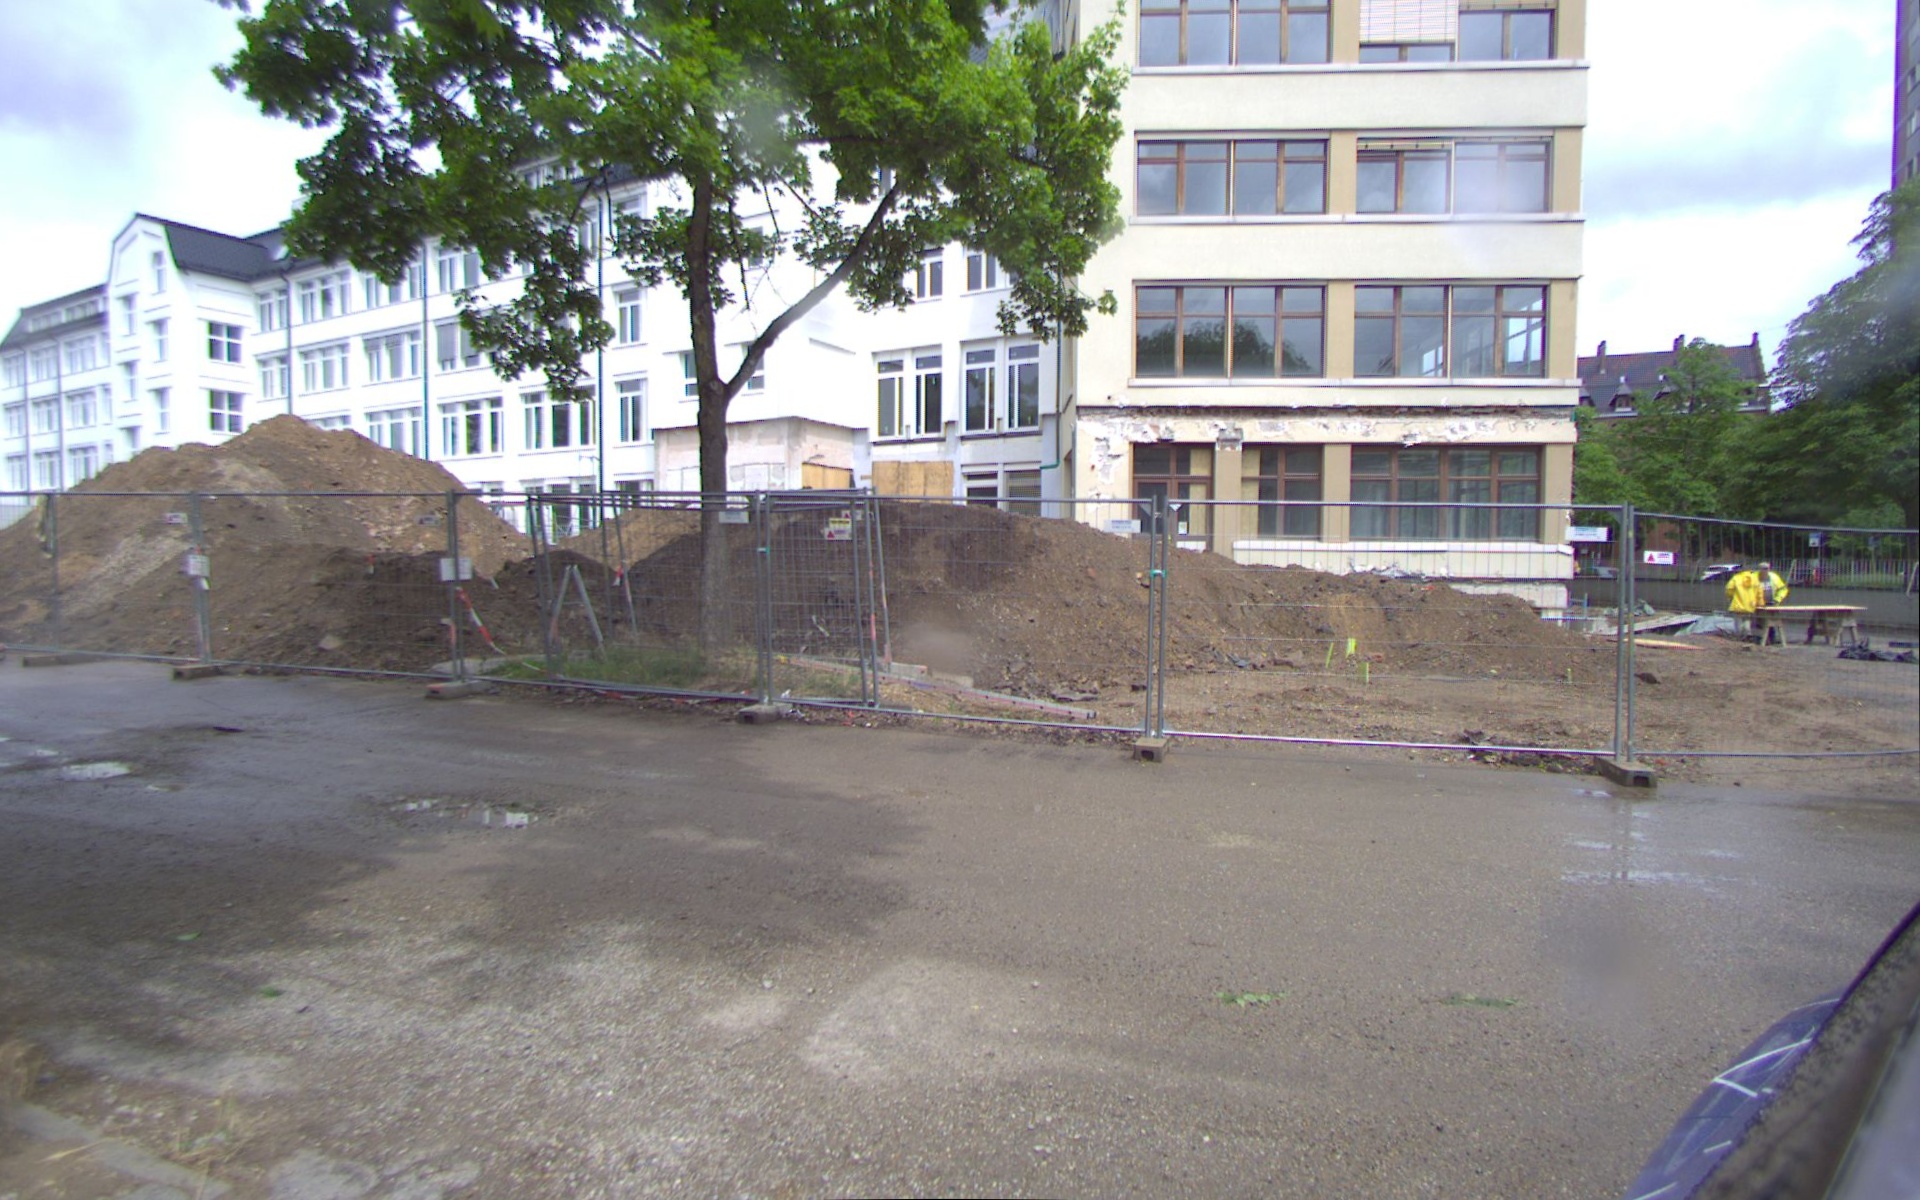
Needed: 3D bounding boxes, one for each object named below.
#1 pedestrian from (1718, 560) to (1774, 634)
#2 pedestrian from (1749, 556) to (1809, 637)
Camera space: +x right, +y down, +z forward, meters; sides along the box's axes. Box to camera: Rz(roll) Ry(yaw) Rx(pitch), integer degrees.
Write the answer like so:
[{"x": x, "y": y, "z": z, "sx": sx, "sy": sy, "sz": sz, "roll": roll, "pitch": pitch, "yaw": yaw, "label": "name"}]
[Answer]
[{"x": 16.556, "y": -0.080, "z": 21.331, "sx": 0.635, "sy": 1.527, "sz": 0.626, "roll": 0, "pitch": 2, "yaw": -11, "label": "pedestrian"}, {"x": 17.545, "y": -0.093, "z": 21.688, "sx": 0.699, "sy": 1.694, "sz": 0.777, "roll": -1, "pitch": 2, "yaw": -34, "label": "pedestrian"}]
